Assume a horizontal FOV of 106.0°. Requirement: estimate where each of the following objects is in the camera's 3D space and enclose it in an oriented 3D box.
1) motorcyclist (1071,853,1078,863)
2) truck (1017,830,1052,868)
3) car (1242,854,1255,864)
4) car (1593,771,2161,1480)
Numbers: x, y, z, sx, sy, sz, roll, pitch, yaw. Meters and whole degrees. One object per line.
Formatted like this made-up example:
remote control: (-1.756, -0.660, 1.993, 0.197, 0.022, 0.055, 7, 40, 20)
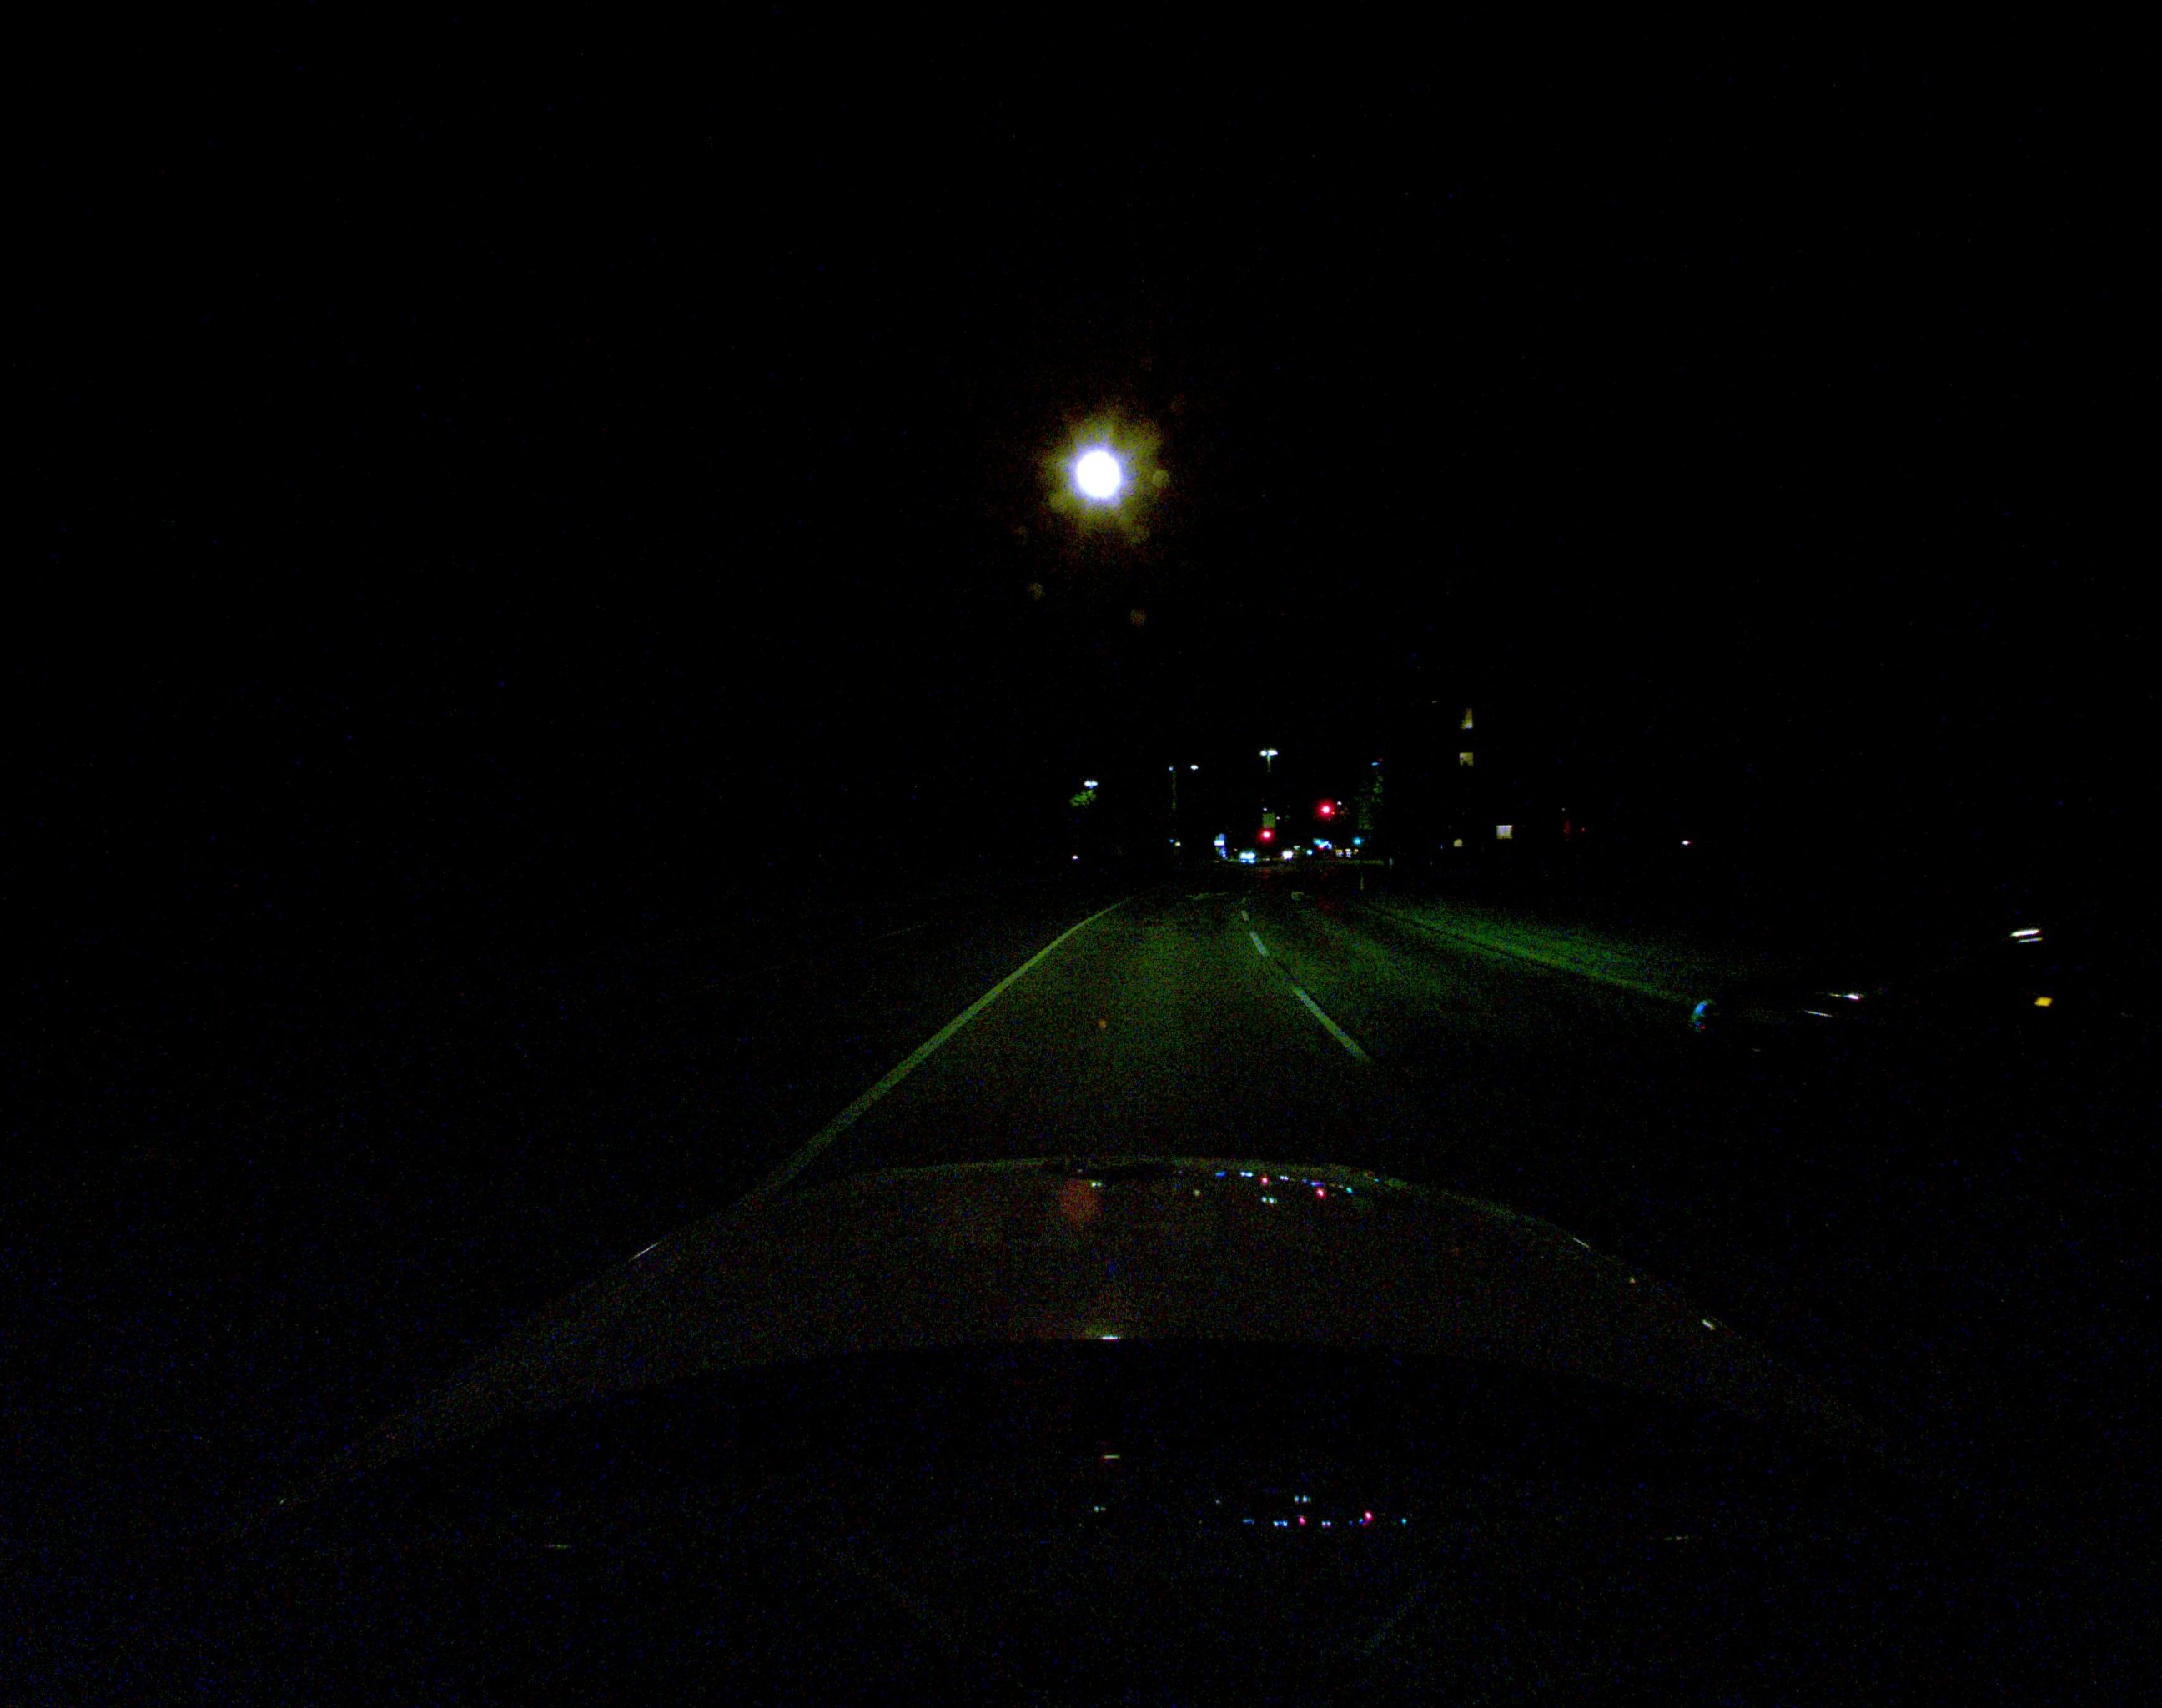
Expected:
motorcyclist: (-0.815, 0.491, 99.605, 0.649, 1.261, 0.574, 0, -1, -25)
truck: (-5.086, -0.491, 86.634, 2.936, 3.796, 9.530, 0, 0, -8)
car: (28.509, 0.842, 138.432, 1.603, 1.515, 4.019, -1, 0, 18)
car: (3.290, 0.619, 1.914, 1.663, 1.610, 4.232, 0, 0, 2)
